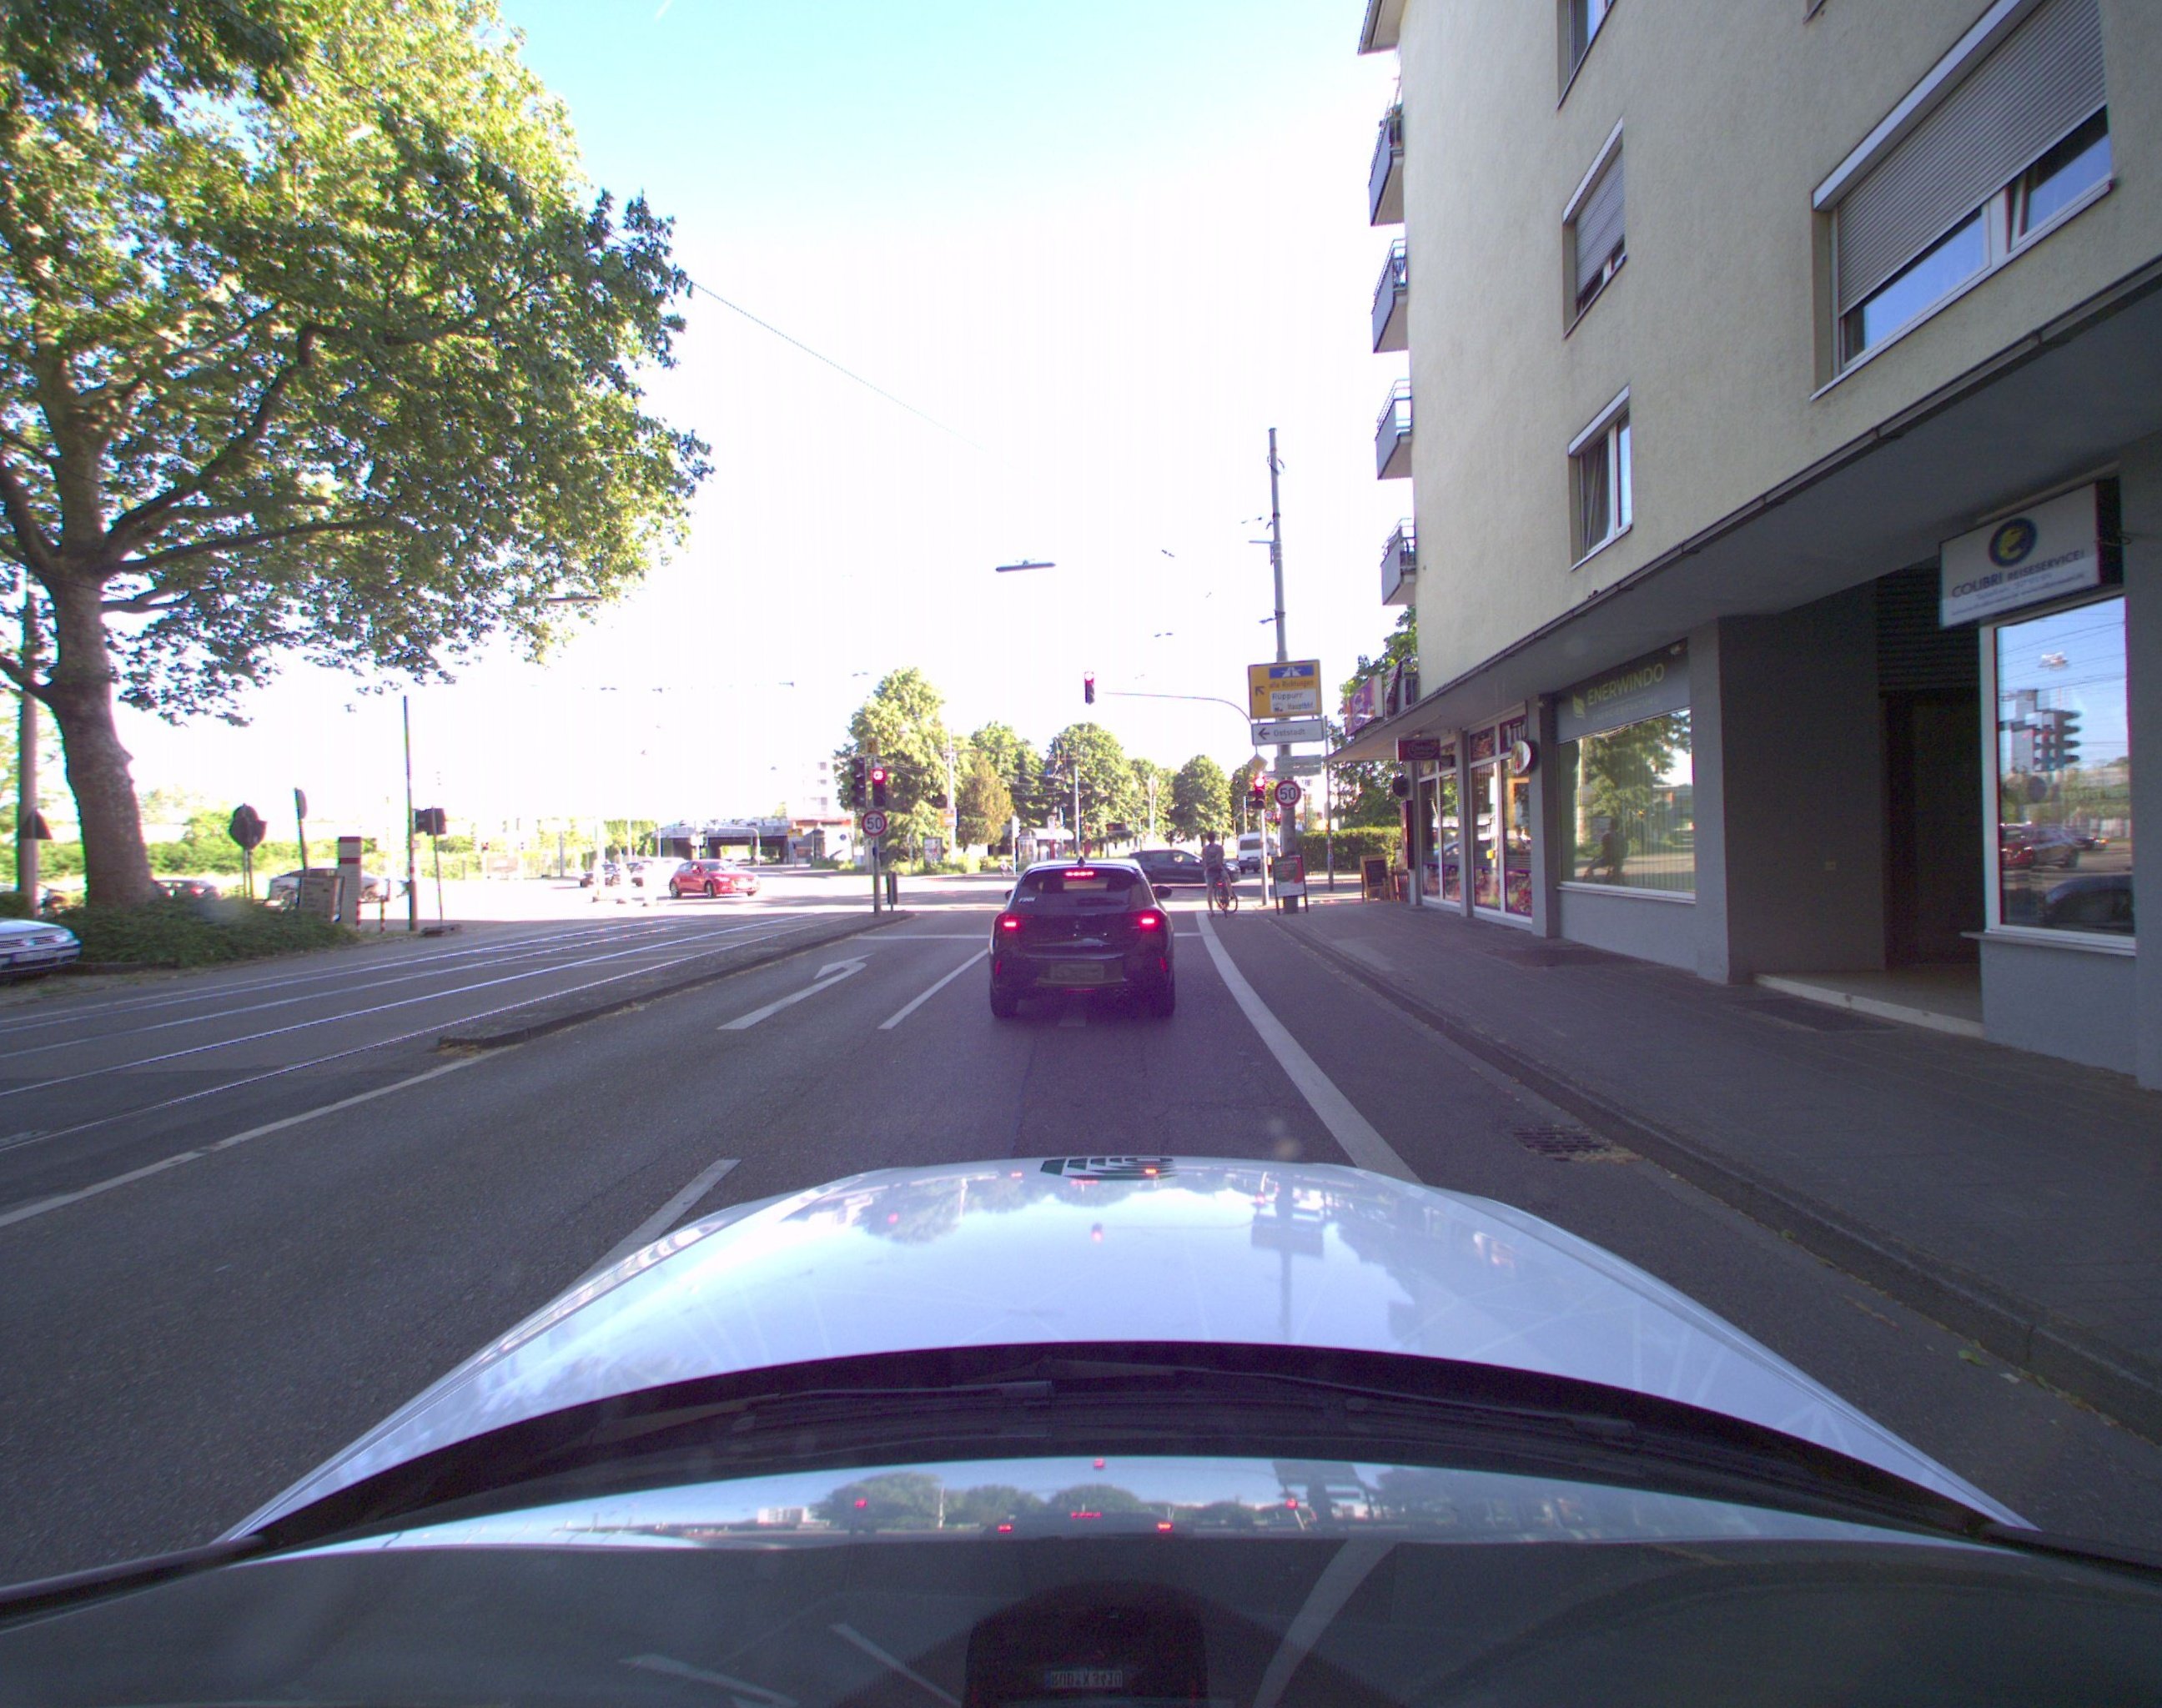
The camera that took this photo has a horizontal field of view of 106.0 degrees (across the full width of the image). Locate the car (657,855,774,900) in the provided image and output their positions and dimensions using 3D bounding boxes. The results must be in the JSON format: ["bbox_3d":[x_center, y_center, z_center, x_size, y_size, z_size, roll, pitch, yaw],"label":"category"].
[{"bbox_3d":[-14.139,0.889,31.427,4.433,1.565,2.036,-1,0,33],"label":"car"}]

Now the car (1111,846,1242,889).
[{"bbox_3d":[3.574,0.475,30.612,4.701,1.473,1.943,-1,0,7],"label":"car"}]

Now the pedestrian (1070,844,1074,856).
[{"bbox_3d":[-1.329,-0.593,122.623,0.602,1.872,0.519,0,-1,-4],"label":"pedestrian"}]

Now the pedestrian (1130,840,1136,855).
[{"bbox_3d":[6.691,-0.798,104.717,0.607,1.872,0.514,0,-1,-32],"label":"pedestrian"}]

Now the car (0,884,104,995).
[{"bbox_3d":[-16.627,1.195,11.344,3.957,1.453,1.670,-1,0,-1],"label":"car"}]

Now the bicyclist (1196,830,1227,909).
[{"bbox_3d":[2.858,0.331,17.848,0.529,1.692,0.571,-2,0,19],"label":"bicyclist"}]

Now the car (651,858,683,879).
[{"bbox_3d":[-32.402,1.134,63.805,1.892,1.585,3.809,0,-1,-21],"label":"car"}]

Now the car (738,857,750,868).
[{"bbox_3d":[-54.287,1.398,131.201,1.761,1.684,3.713,0,-1,-22],"label":"car"}]

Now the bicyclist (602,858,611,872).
[{"bbox_3d":[-41.383,0.982,71.004,0.528,1.222,0.526,-1,0,-22],"label":"bicyclist"}]

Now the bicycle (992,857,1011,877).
[{"bbox_3d":[-4.533,0.732,46.486,0.793,1.064,2.186,-2,0,2],"label":"bicycle"}]

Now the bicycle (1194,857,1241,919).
[{"bbox_3d":[3.034,0.716,17.978,0.747,1.235,2.024,-2,0,16],"label":"bicycle"}]

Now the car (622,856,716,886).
[{"bbox_3d":[-22.335,0.885,44.322,1.973,1.552,4.221,-1,-1,25],"label":"car"}]

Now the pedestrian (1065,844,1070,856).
[{"bbox_3d":[-2.059,-0.578,123.822,0.602,1.872,0.519,0,-1,-4],"label":"pedestrian"}]

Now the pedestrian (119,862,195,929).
[{"bbox_3d":[-23.293,1.017,20.548,0.842,1.647,0.931,0,-1,1],"label":"pedestrian"}]

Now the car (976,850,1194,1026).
[{"bbox_3d":[0.094,0.703,8.931,1.833,1.462,3.985,-1,0,2],"label":"car"}]

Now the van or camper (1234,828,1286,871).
[{"bbox_3d":[10.205,-0.220,46.231,2.011,2.310,4.565,-1,-1,23],"label":"van or camper"}]

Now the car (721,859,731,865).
[{"bbox_3d":[-75.705,1.637,173.644,1.587,1.260,3.397,-2,0,-28],"label":"car"}]

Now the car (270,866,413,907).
[{"bbox_3d":[-32.033,1.368,35.426,4.214,1.519,1.788,-2,1,-26],"label":"car"}]
